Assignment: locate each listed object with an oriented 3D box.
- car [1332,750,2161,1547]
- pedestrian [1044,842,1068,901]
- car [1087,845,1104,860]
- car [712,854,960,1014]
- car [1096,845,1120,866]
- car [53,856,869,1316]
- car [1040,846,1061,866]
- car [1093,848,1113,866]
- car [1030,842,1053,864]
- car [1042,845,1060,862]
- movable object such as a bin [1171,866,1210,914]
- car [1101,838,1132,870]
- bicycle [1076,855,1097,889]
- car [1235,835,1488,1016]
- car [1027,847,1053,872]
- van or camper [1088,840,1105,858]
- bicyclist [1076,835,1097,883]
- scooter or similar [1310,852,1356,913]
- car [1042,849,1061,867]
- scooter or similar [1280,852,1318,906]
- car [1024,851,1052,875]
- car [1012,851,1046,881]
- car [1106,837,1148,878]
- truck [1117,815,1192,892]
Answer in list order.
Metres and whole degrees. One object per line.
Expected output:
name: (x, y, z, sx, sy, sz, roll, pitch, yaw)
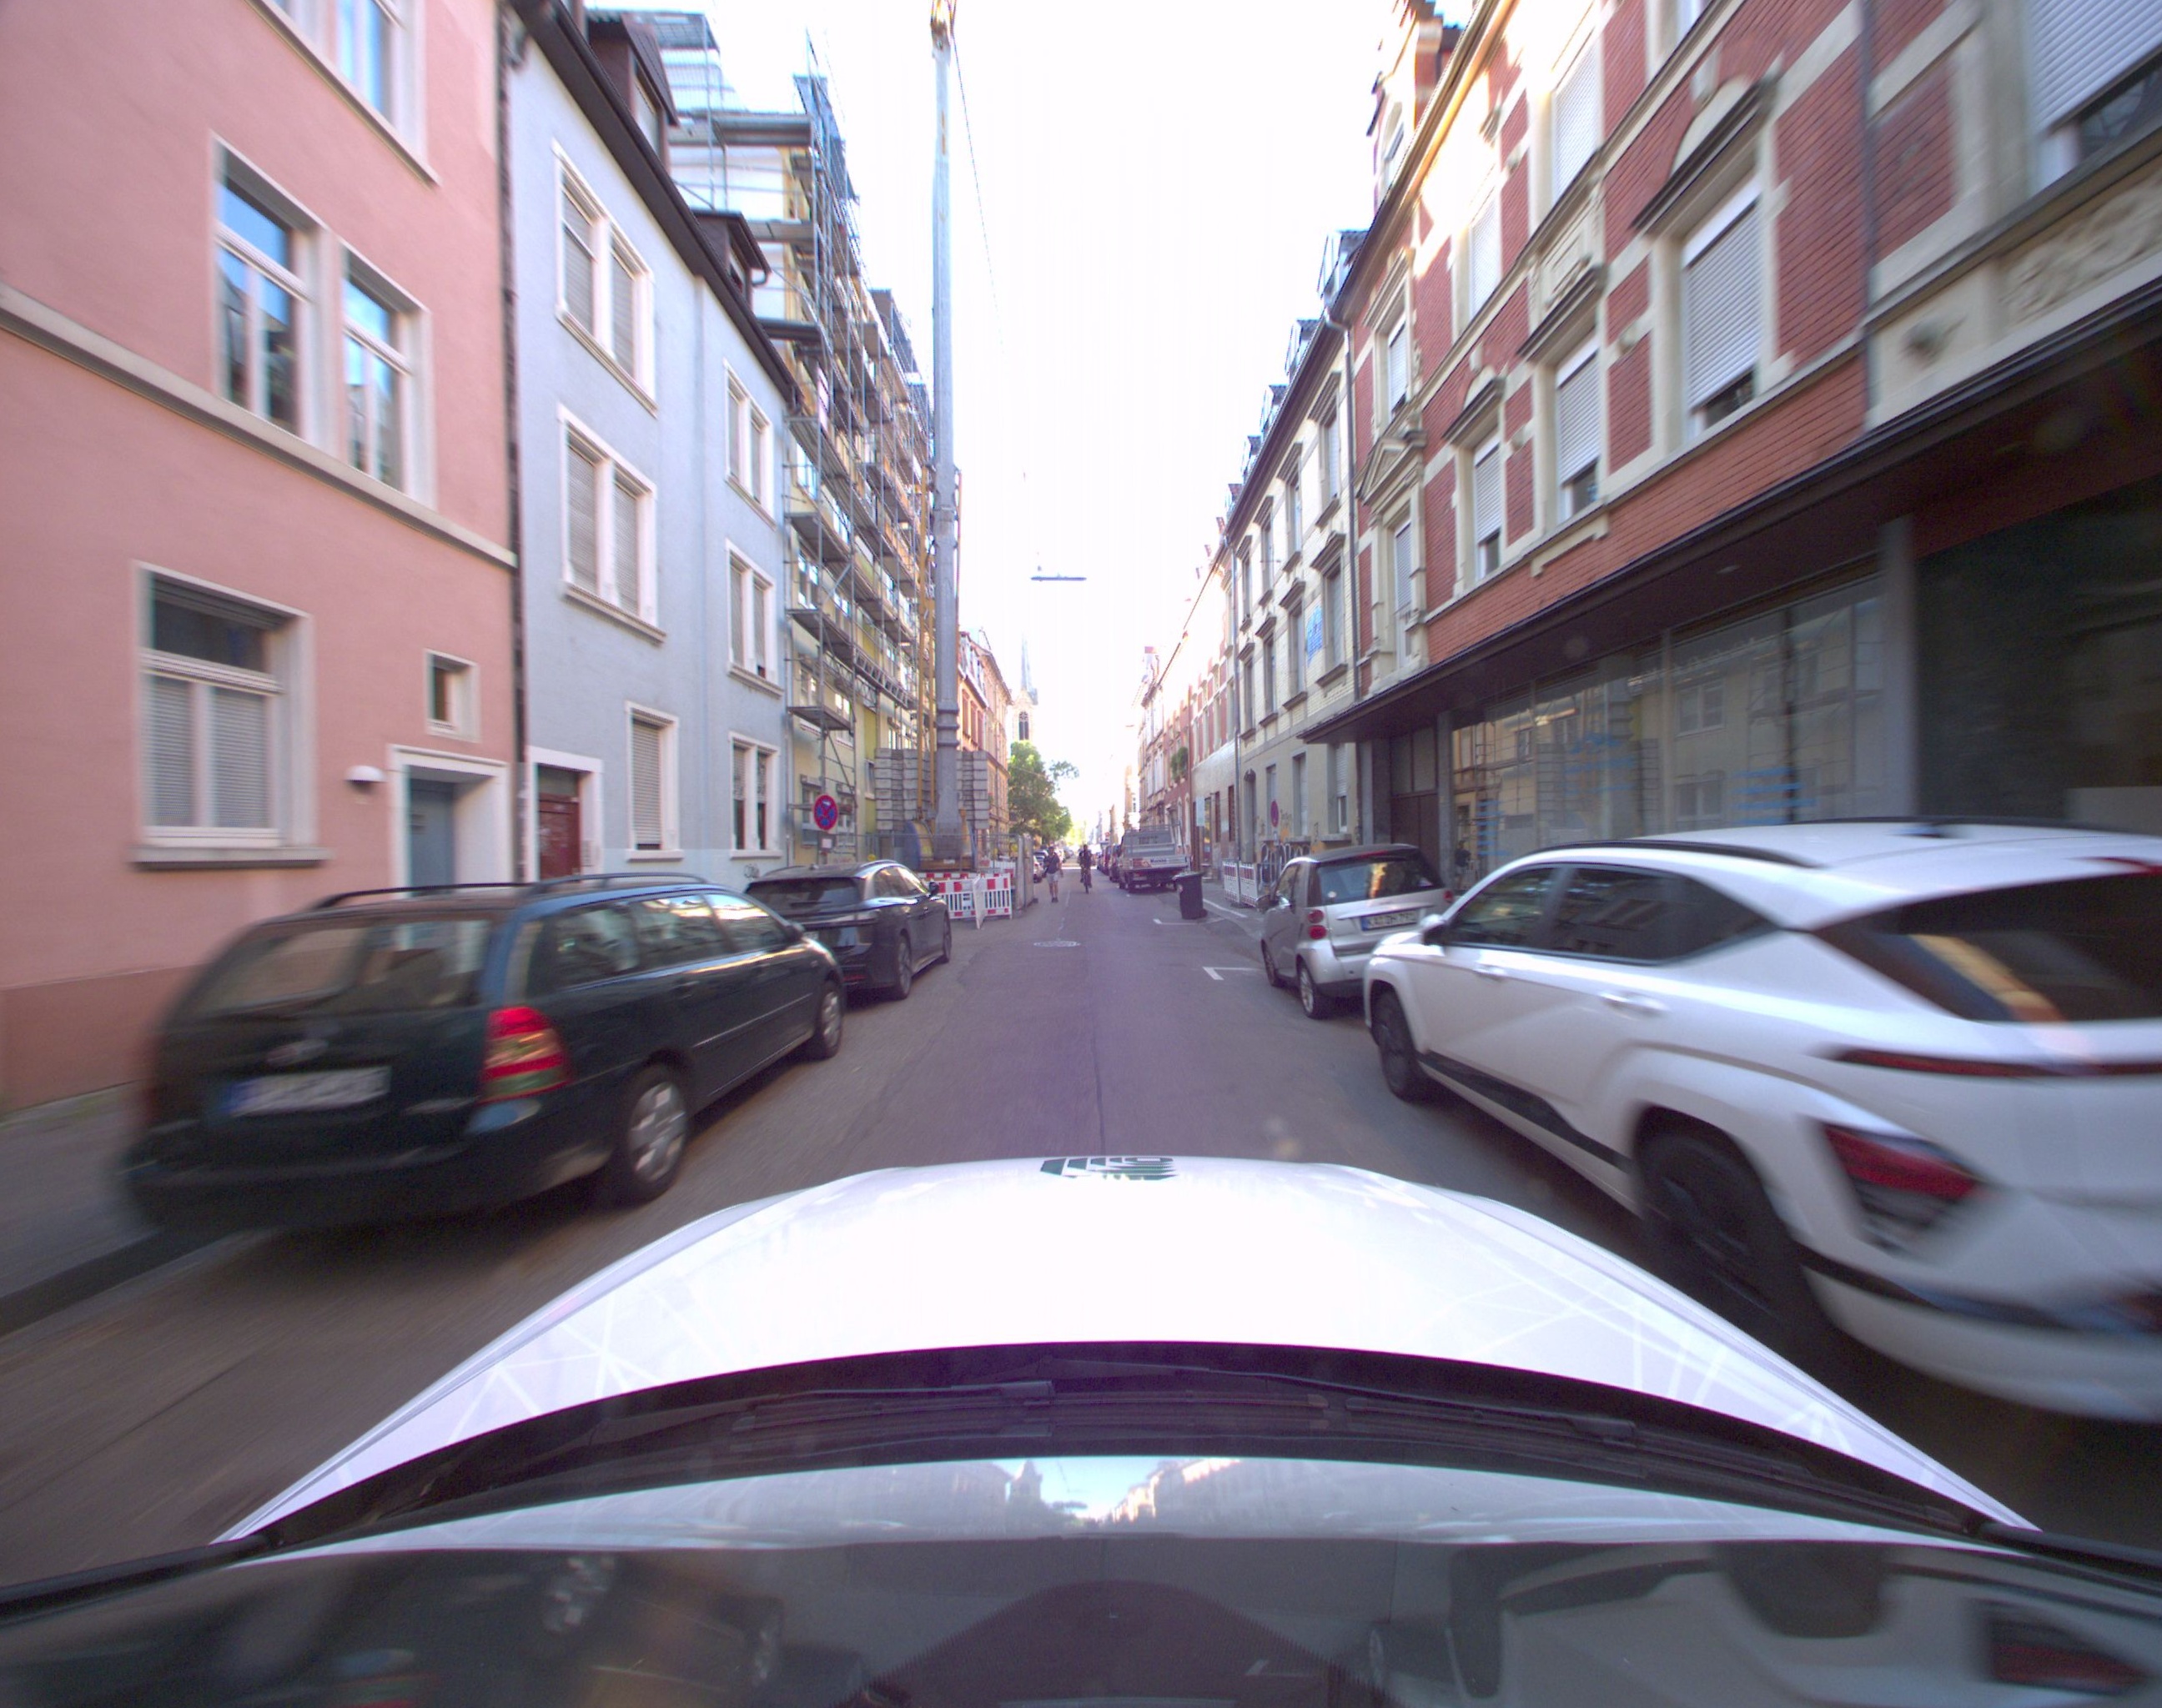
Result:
car: (2.738, 0.595, 3.903, 1.740, 1.675, 4.341, -2, 0, 1)
pedestrian: (-0.747, 0.520, 24.814, 0.655, 1.732, 0.720, -2, 0, -1)
car: (1.865, -0.226, 105.168, 1.988, 1.848, 3.998, -3, 0, -1)
car: (-2.706, 0.770, 10.177, 1.670, 1.477, 4.607, -2, 0, 0)
car: (2.246, 0.121, 67.705, 1.671, 1.571, 3.866, -2, 0, -2)
car: (-2.755, 0.821, 5.085, 1.670, 1.511, 4.413, -2, 0, 0)
car: (-2.539, 0.171, 67.488, 1.671, 1.571, 3.866, -2, 0, -2)
car: (2.498, 0.320, 92.142, 1.988, 2.013, 3.998, -2, 0, -1)
car: (-3.005, -0.071, 62.289, 1.671, 1.571, 3.866, -2, 0, -2)
car: (-3.470, -0.115, 95.710, 1.988, 1.848, 3.998, -3, 0, -1)
movable object such as a bin: (2.545, 0.818, 18.957, 0.792, 1.056, 0.660, -2, 0, -1)
car: (2.297, -0.007, 54.222, 1.671, 2.031, 3.866, -2, 0, -2)
bicycle: (0.193, 0.652, 30.297, 0.722, 1.186, 2.042, -1, 1, 0)
car: (2.872, 0.632, 9.214, 1.591, 1.560, 3.815, -2, 0, 1)
car: (-2.857, 0.366, 57.008, 1.671, 1.571, 3.866, -2, 0, -2)
van or camper: (2.247, -0.728, 120.768, 1.990, 2.508, 4.196, -3, 0, -4)
bicyclist: (0.196, 0.185, 30.319, 0.728, 1.761, 0.835, -1, 1, -1)
scooter or similar: (5.200, 0.561, 16.888, 0.416, 1.178, 1.495, -4, 0, 0)
car: (-3.212, 0.456, 90.462, 1.988, 1.848, 3.998, -2, 0, -1)
scooter or similar: (5.090, 0.555, 19.086, 0.416, 1.178, 1.495, -4, 0, 0)
car: (-2.697, 0.545, 52.121, 1.671, 1.445, 3.866, -2, 0, -2)
car: (-2.707, 0.607, 43.306, 1.671, 1.445, 3.866, -2, 0, -2)
car: (2.317, 0.173, 41.729, 1.671, 1.962, 4.105, -2, 0, -2)
truck: (2.682, -0.046, 31.233, 2.184, 2.607, 5.231, -3, 0, -1)
